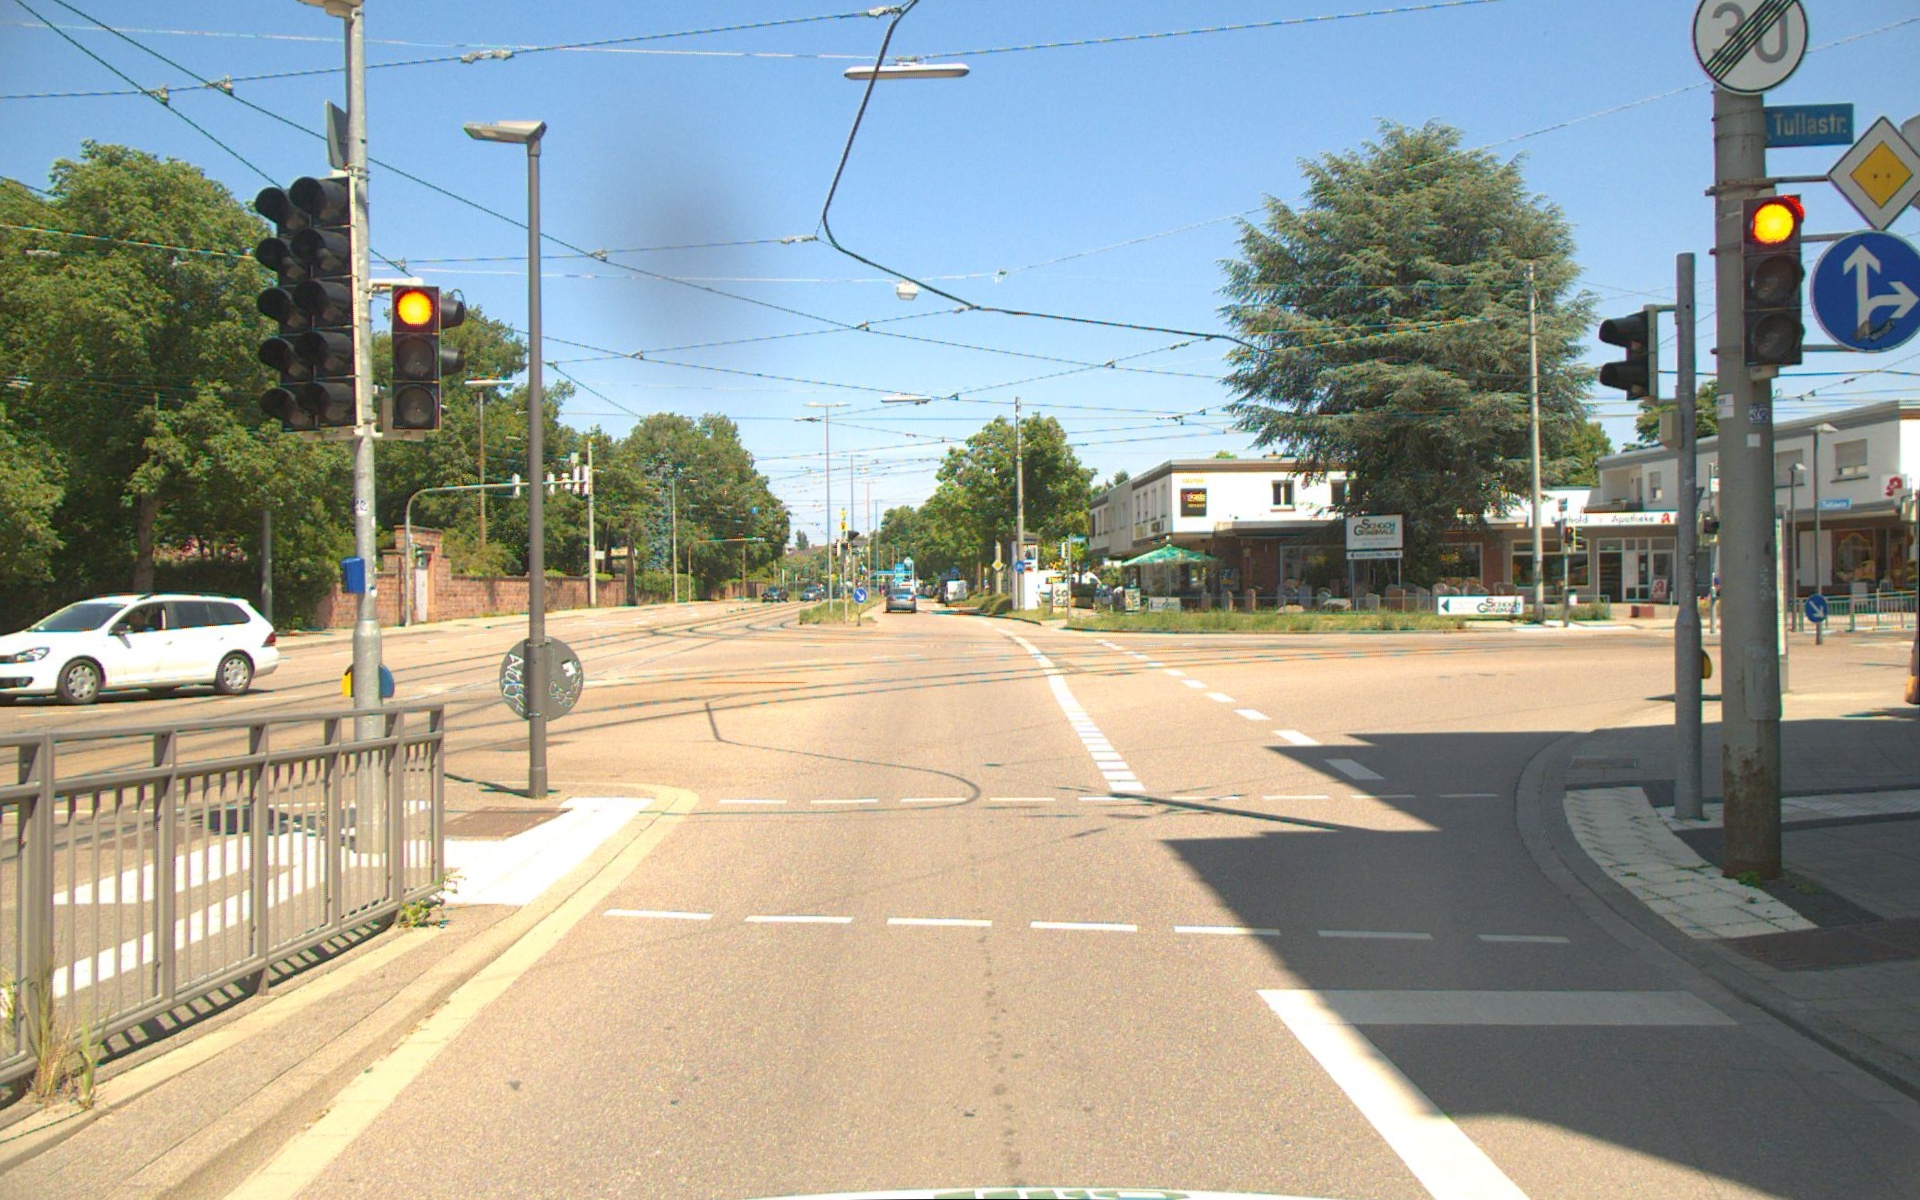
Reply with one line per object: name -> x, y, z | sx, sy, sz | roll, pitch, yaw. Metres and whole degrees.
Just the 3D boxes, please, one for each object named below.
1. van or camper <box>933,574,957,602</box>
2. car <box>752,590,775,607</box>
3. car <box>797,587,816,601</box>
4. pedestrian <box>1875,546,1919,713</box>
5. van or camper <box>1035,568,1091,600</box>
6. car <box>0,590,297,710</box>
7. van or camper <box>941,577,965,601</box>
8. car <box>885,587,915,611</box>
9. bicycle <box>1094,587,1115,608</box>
van or camper -> -1.384, -1.123, 152.818 | 1.954, 2.507, 3.997 | -1, 0, -4
car -> -19.690, -0.161, 165.780 | 1.783, 1.631, 4.519 | -1, 0, 0
car -> -16.423, -0.609, 176.853 | 1.607, 1.445, 4.168 | -1, 0, 1
pedestrian -> 9.682, 0.263, 16.289 | 0.809, 1.611, 0.827 | -4, 0, 5
van or camper -> 8.938, -1.407, 143.531 | 4.662, 2.717, 2.134 | -1, 0, -3
car -> -11.949, 0.636, 23.745 | 1.782, 1.516, 4.496 | -1, 0, 25
van or camper -> -0.567, -0.867, 130.360 | 1.883, 1.803, 3.999 | -1, 0, -1
car -> -3.524, -0.068, 96.183 | 1.604, 1.375, 3.838 | -1, 0, -4
bicycle -> 7.392, -0.149, 84.601 | 1.012, 1.032, 2.639 | -1, 0, 5
